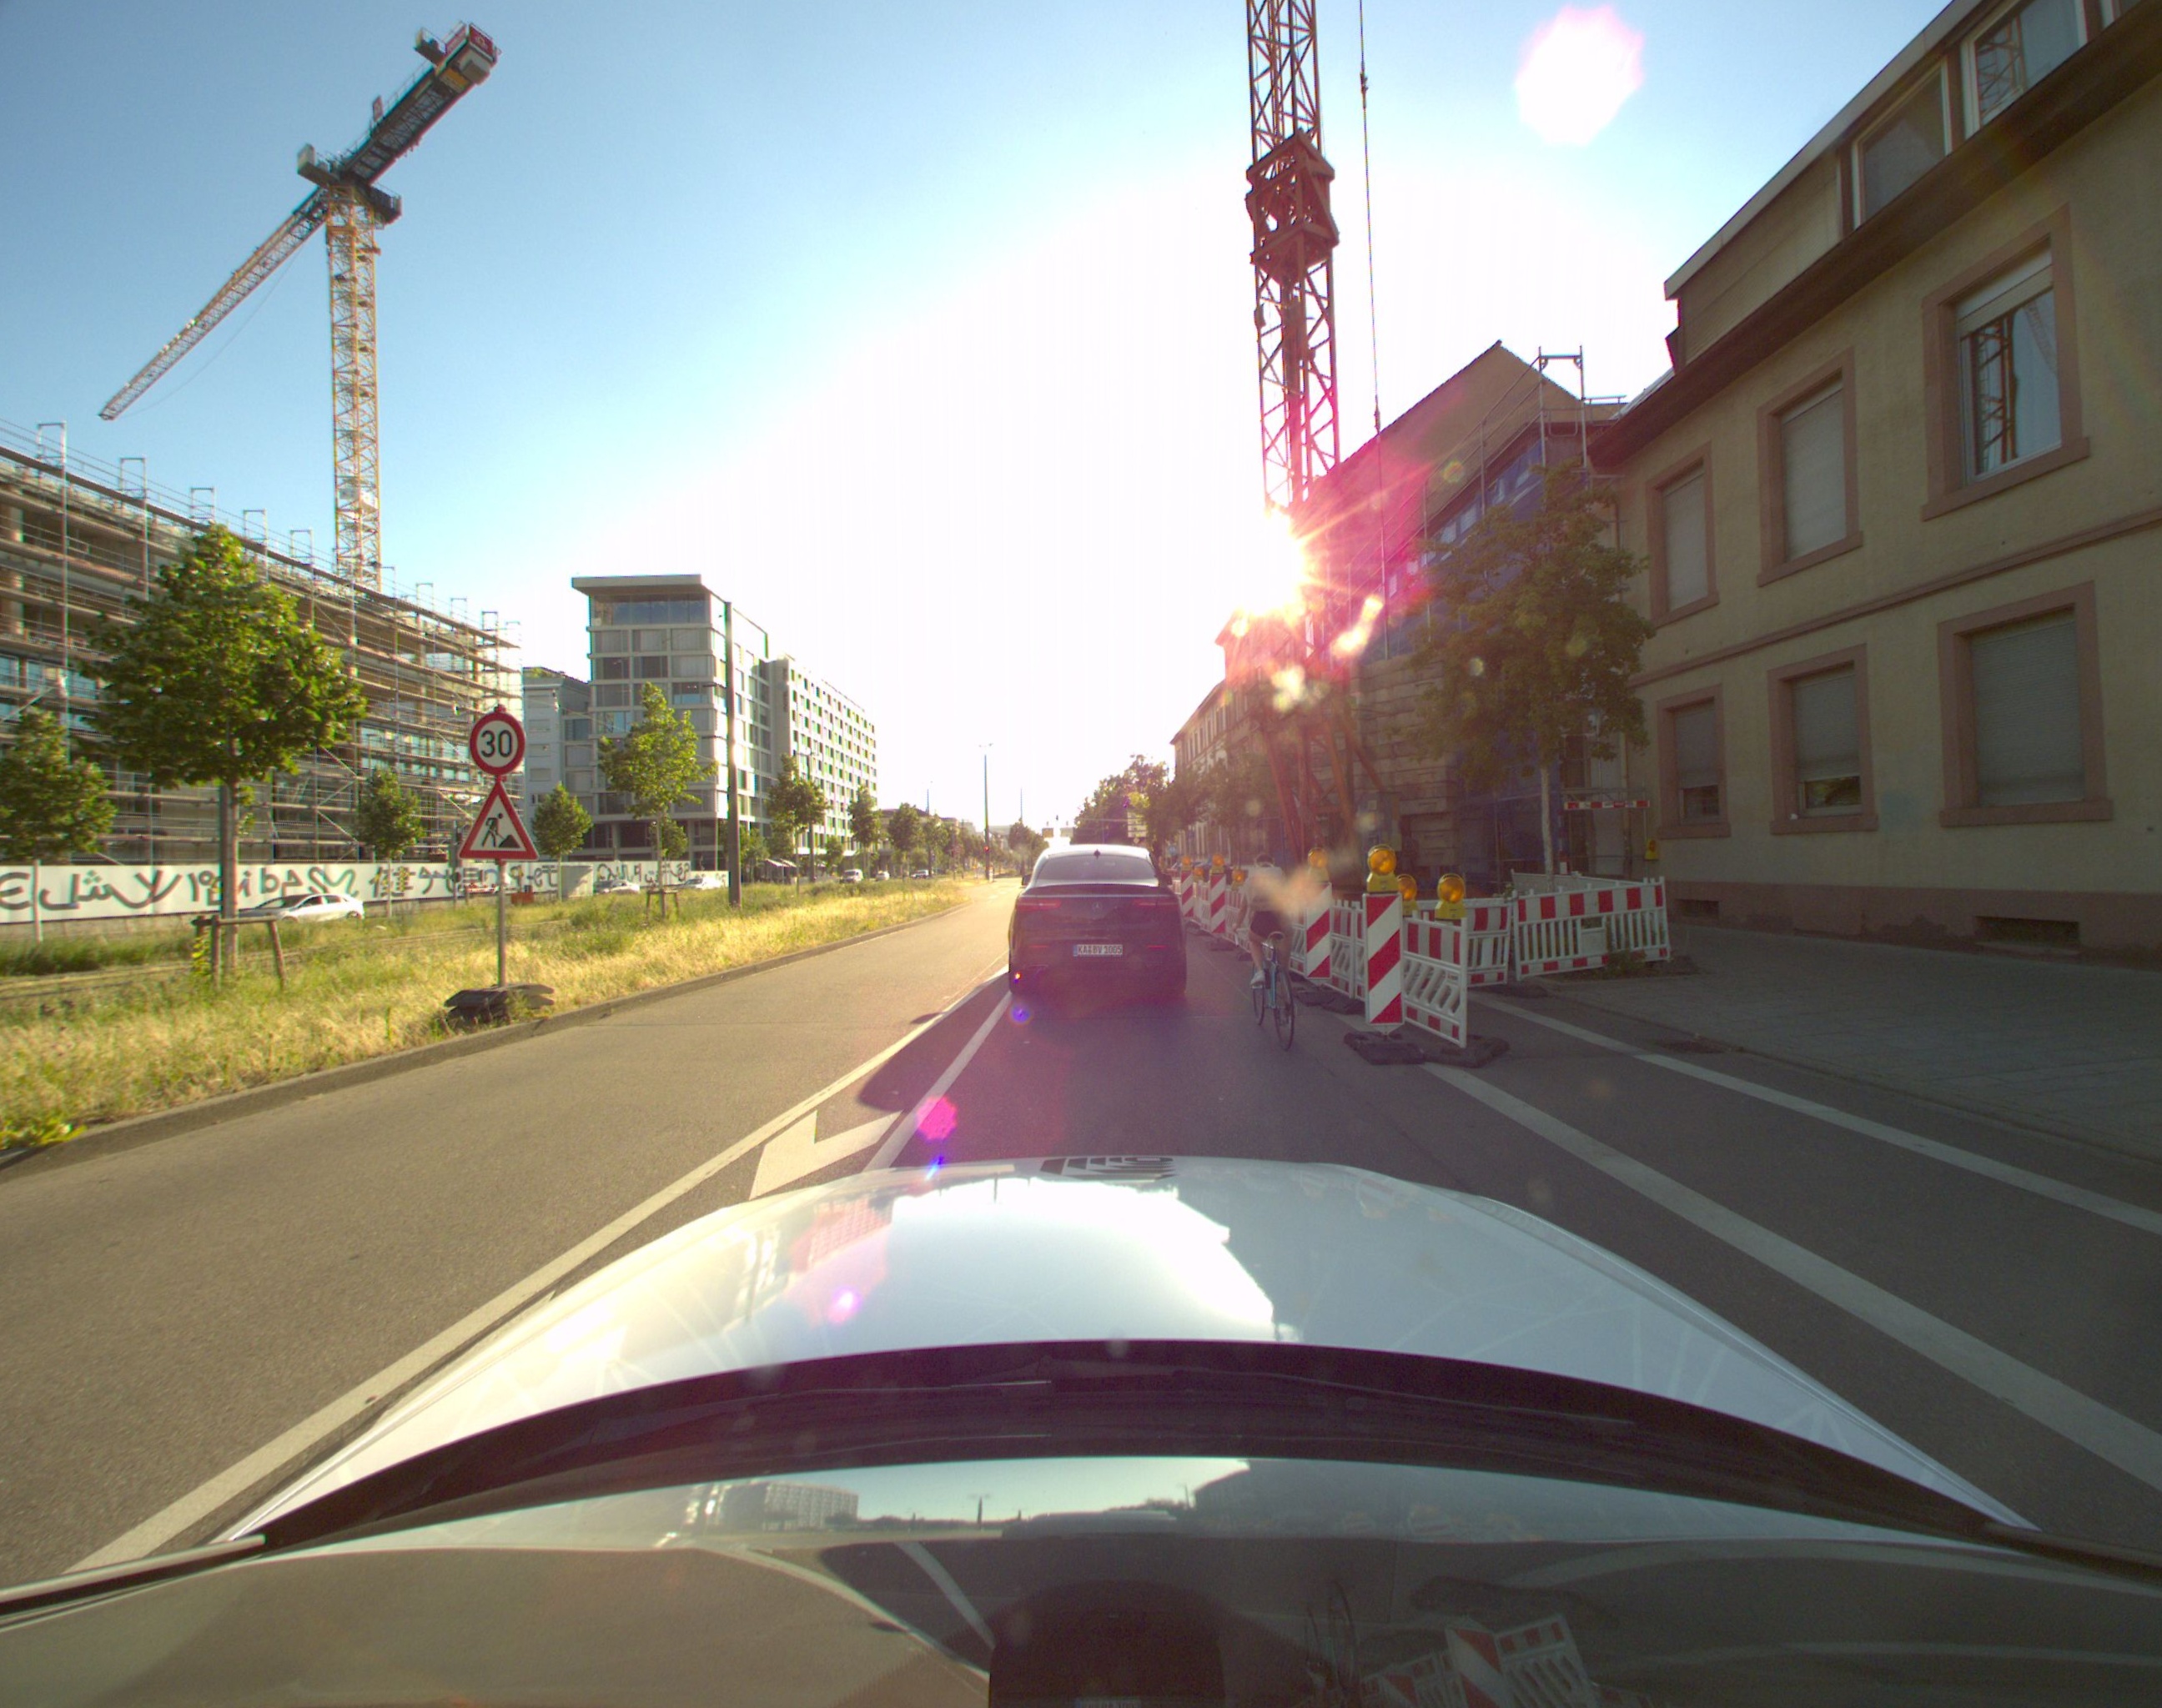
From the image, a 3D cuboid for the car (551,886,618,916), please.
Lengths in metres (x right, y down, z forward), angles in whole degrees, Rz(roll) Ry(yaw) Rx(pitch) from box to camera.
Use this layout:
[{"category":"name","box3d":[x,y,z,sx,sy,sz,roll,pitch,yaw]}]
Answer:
[{"category":"car","box3d":[-30.359,2.837,49.925,1.784,1.684,3.638,-1,-1,1]}]

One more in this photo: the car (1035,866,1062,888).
[{"category":"car","box3d":[-2.250,1.584,57.059,1.703,1.442,3.582,-1,0,0]}]

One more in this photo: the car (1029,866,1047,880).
[{"category":"car","box3d":[-4.503,1.954,84.959,1.703,1.442,3.581,-1,-1,0]}]

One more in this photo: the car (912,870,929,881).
[{"category":"car","box3d":[-22.519,2.995,114.379,1.703,1.442,3.581,-1,-1,0]}]

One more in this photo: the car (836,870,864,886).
[{"category":"car","box3d":[-26.031,2.677,91.792,1.781,1.684,3.643,-1,-1,5]}]

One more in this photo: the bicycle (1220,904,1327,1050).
[{"category":"bicycle","box3d":[1.651,1.013,7.235,0.511,1.052,1.724,-1,-1,-1]}]

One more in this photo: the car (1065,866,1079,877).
[{"category":"car","box3d":[-1.084,2.192,102.377,1.703,1.442,3.581,-1,-1,0]}]

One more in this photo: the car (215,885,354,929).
[{"category":"car","box3d":[-29.931,1.956,30.761,1.703,1.442,3.581,-1,-1,0]}]

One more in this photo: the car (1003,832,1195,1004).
[{"category":"car","box3d":[0.251,0.689,10.460,1.986,1.772,4.001,-1,-1,2]}]

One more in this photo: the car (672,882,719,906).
[{"category":"car","box3d":[-29.337,3.005,62.089,1.784,1.684,3.638,-1,-1,1]}]

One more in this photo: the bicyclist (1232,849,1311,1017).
[{"category":"bicyclist","box3d":[1.642,0.660,7.091,0.521,1.395,0.614,0,-1,-1]}]

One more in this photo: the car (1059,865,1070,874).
[{"category":"car","box3d":[-2.628,2.533,133.615,1.703,1.442,3.581,-1,-1,0]}]

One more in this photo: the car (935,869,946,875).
[{"category":"car","box3d":[-30.574,3.912,177.375,1.703,1.442,3.581,-1,-1,0]}]

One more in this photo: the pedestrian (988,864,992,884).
[{"category":"pedestrian","box3d":[-8.256,1.789,73.816,0.333,1.763,0.418,-1,-1,-1]}]
